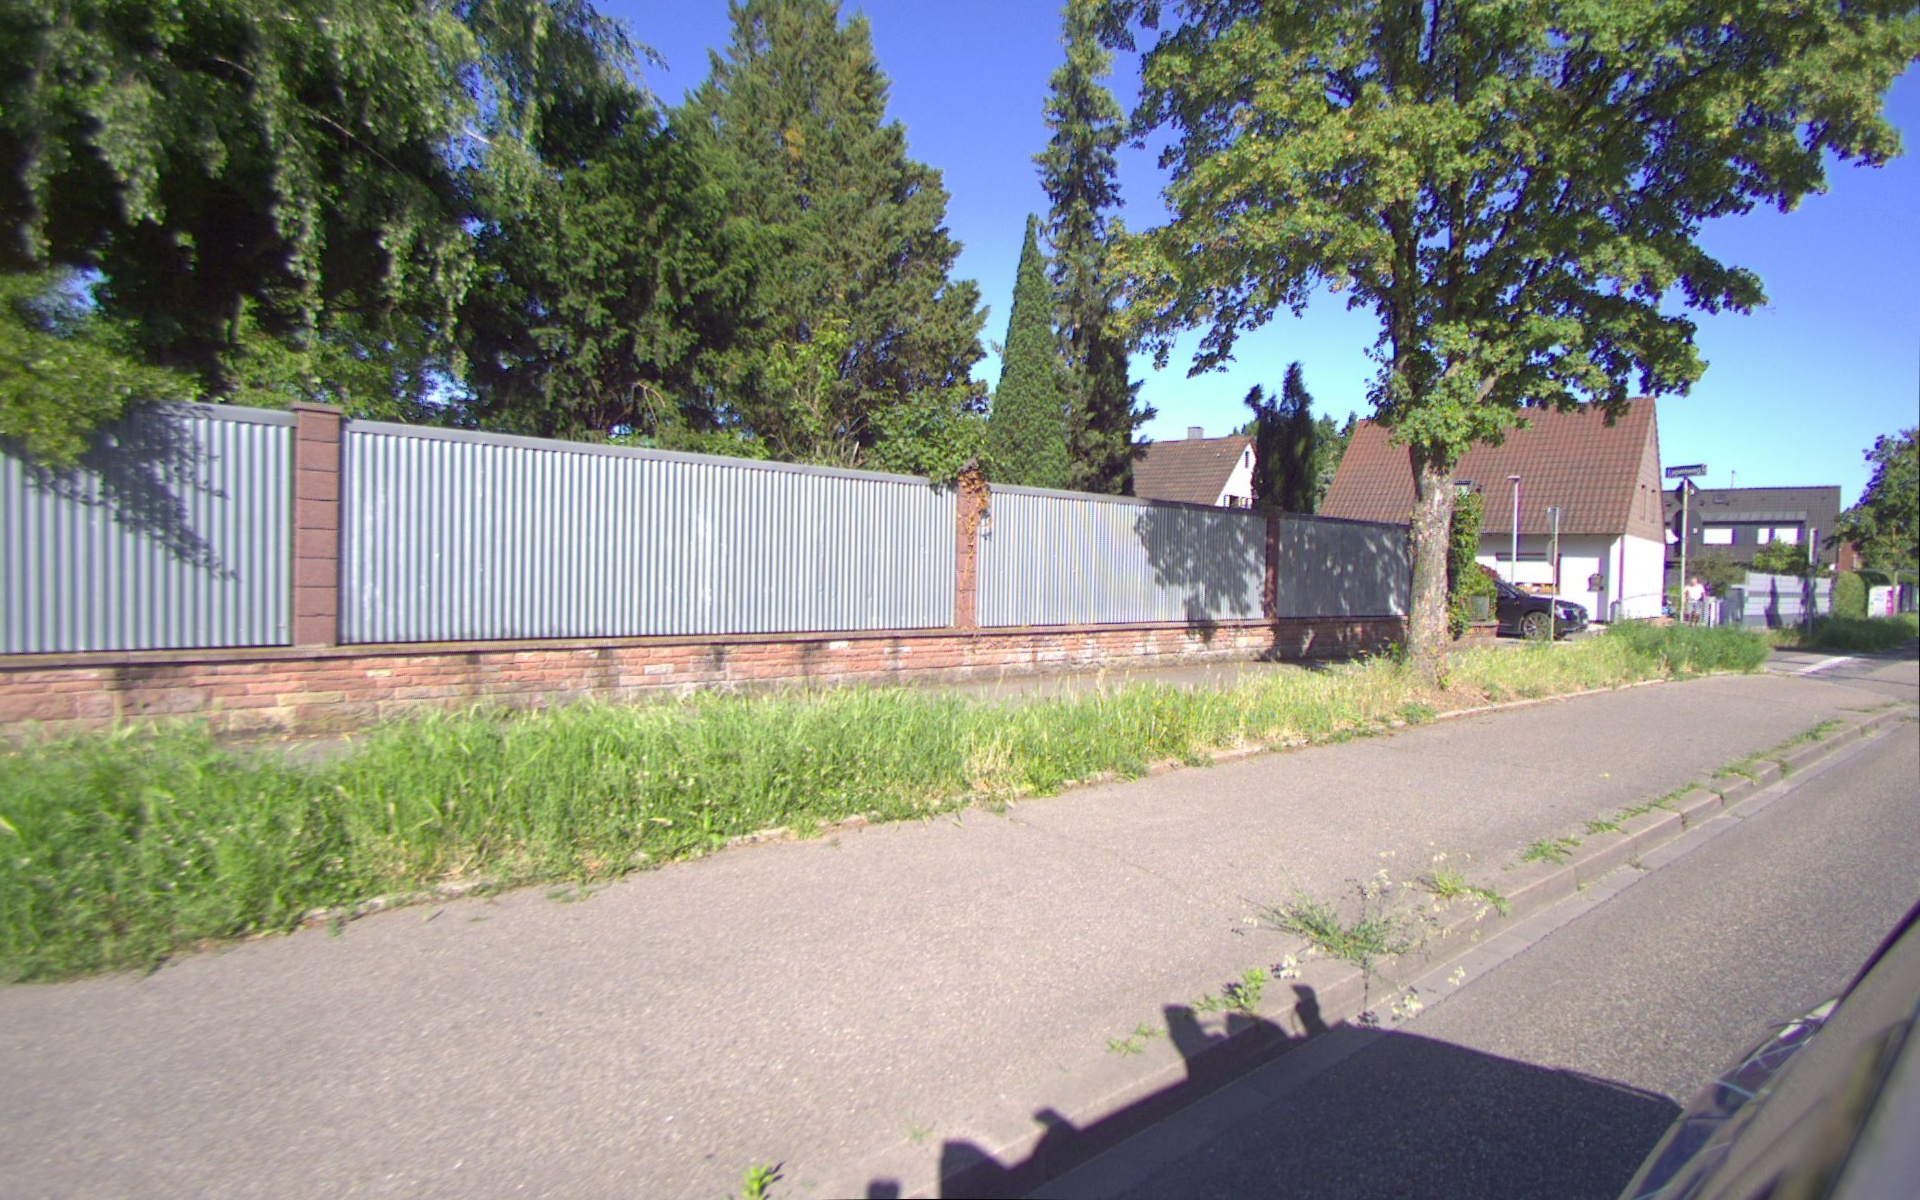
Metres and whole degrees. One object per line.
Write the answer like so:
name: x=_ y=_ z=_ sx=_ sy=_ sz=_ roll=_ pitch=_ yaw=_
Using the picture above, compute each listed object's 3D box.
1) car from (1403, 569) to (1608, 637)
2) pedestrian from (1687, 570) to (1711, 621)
car: x=15.417 y=0.035 z=28.767 sx=4.743 sy=1.677 sz=2.039 roll=3 pitch=2 yaw=44
pedestrian: x=25.470 y=-0.175 z=34.893 sx=0.626 sy=1.729 sz=0.606 roll=1 pitch=1 yaw=36
